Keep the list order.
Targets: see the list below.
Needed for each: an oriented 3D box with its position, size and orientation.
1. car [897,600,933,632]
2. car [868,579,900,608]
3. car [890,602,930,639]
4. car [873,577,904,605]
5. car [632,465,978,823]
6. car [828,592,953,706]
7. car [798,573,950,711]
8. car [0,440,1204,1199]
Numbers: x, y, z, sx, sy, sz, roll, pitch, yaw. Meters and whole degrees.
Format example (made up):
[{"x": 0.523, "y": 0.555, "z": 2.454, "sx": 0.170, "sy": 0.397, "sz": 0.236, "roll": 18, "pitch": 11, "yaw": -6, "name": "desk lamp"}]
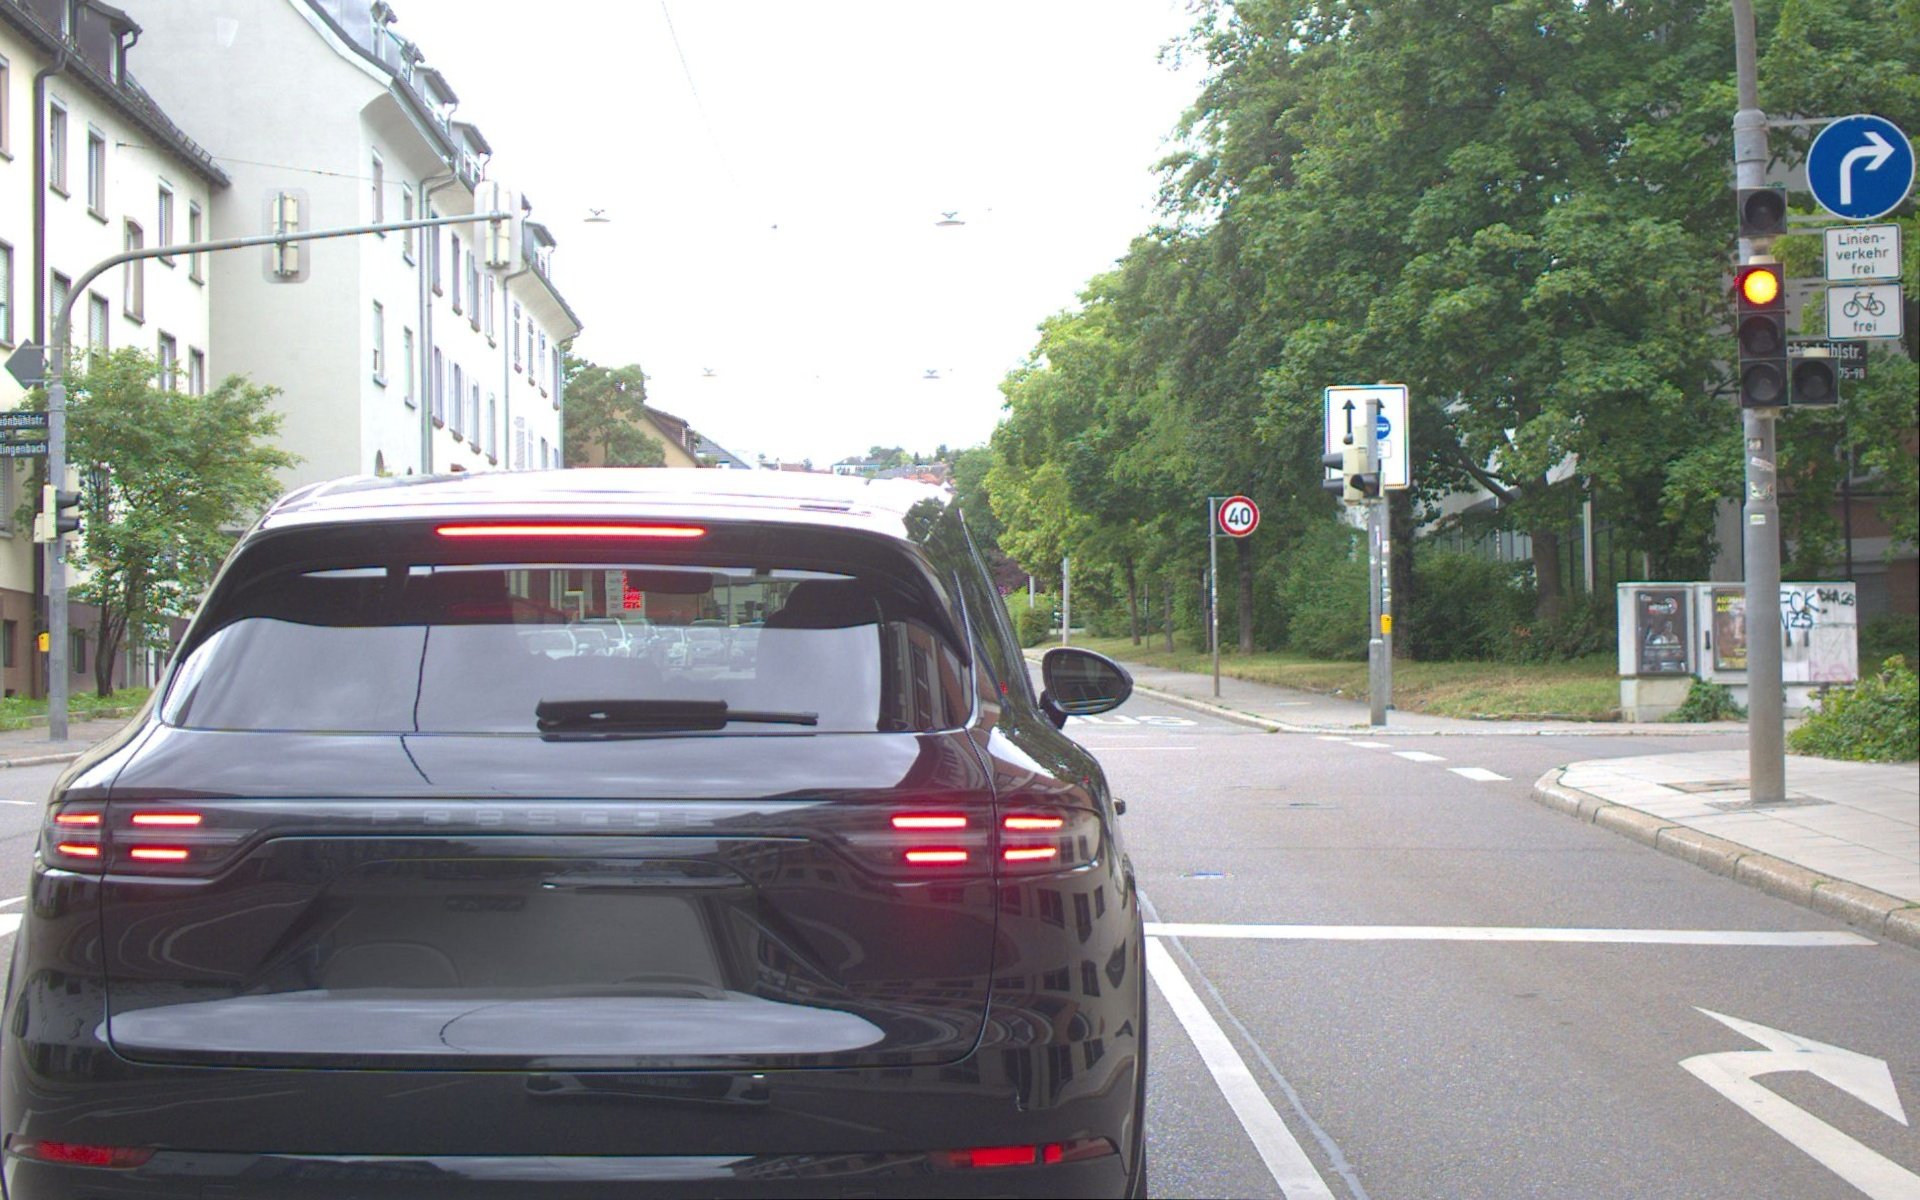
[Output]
[{"x": -2.382, "y": 0.851, "z": 182.486, "sx": 1.827, "sy": 1.599, "sz": 4.135, "roll": 1, "pitch": 1, "yaw": 0, "name": "car"}, {"x": -4.478, "y": -0.391, "z": 202.946, "sx": 1.827, "sy": 1.599, "sz": 4.135, "roll": 1, "pitch": 1, "yaw": 0, "name": "car"}, {"x": -2.373, "y": 0.960, "z": 163.311, "sx": 1.827, "sy": 1.599, "sz": 4.135, "roll": 1, "pitch": 1, "yaw": 0, "name": "car"}, {"x": -4.380, "y": -0.544, "z": 210.272, "sx": 1.827, "sy": 1.599, "sz": 4.135, "roll": 1, "pitch": 1, "yaw": 0, "name": "car"}, {"x": -0.909, "y": 0.219, "z": 21.899, "sx": 1.965, "sy": 2.035, "sz": 4.135, "roll": 1, "pitch": 1, "yaw": 0, "name": "car"}, {"x": -1.034, "y": 0.718, "z": 52.541, "sx": 1.827, "sy": 1.599, "sz": 3.859, "roll": 1, "pitch": 1, "yaw": 0, "name": "car"}, {"x": -1.058, "y": 0.495, "z": 43.823, "sx": 1.827, "sy": 1.599, "sz": 4.135, "roll": 1, "pitch": 1, "yaw": 0, "name": "car"}, {"x": -0.687, "y": 0.568, "z": 7.251, "sx": 2.048, "sy": 1.660, "sz": 4.267, "roll": 1, "pitch": 1, "yaw": 0, "name": "car"}]
